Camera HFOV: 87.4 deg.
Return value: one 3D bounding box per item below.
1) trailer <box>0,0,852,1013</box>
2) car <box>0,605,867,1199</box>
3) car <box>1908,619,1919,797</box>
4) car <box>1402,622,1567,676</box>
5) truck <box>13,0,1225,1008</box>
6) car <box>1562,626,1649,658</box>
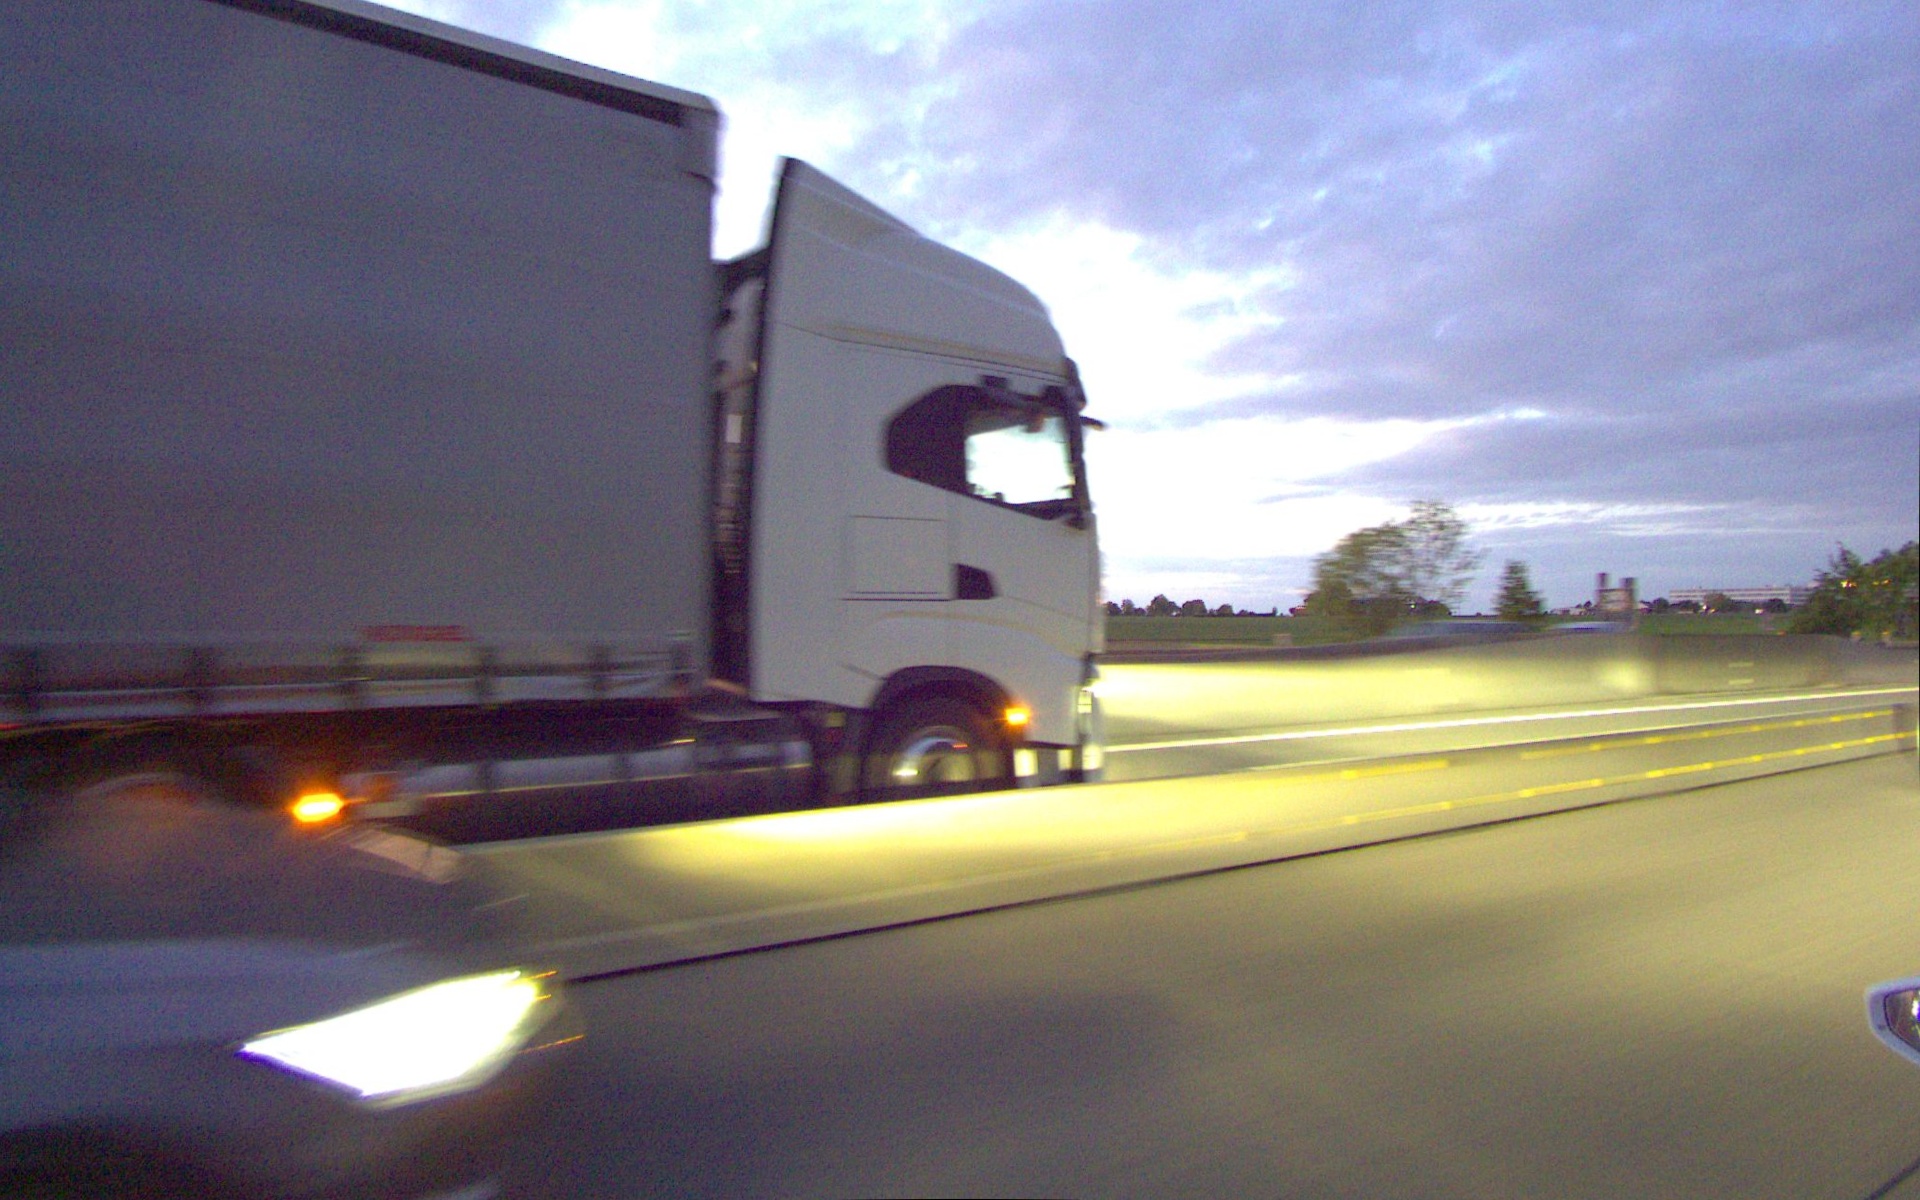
[{"bbox_3d":[-7.477,-0.661,2.922,14.356,4.139,2.781,2,-1,-31],"label":"trailer"},{"bbox_3d":[-2.639,0.749,1.550,4.669,1.491,1.715,2,0,-29],"label":"car"},{"bbox_3d":[10.613,1.010,9.132,4.363,1.545,1.736,2,0,-30],"label":"car"},{"bbox_3d":[13.153,1.214,25.150,3.953,1.220,1.854,2,0,-30],"label":"car"},{"bbox_3d":[-1.511,-0.479,6.447,6.031,4.147,2.764,2,-1,-30],"label":"truck"},{"bbox_3d":[26.398,1.709,41.045,3.567,1.206,1.529,2,0,-30],"label":"car"}]
